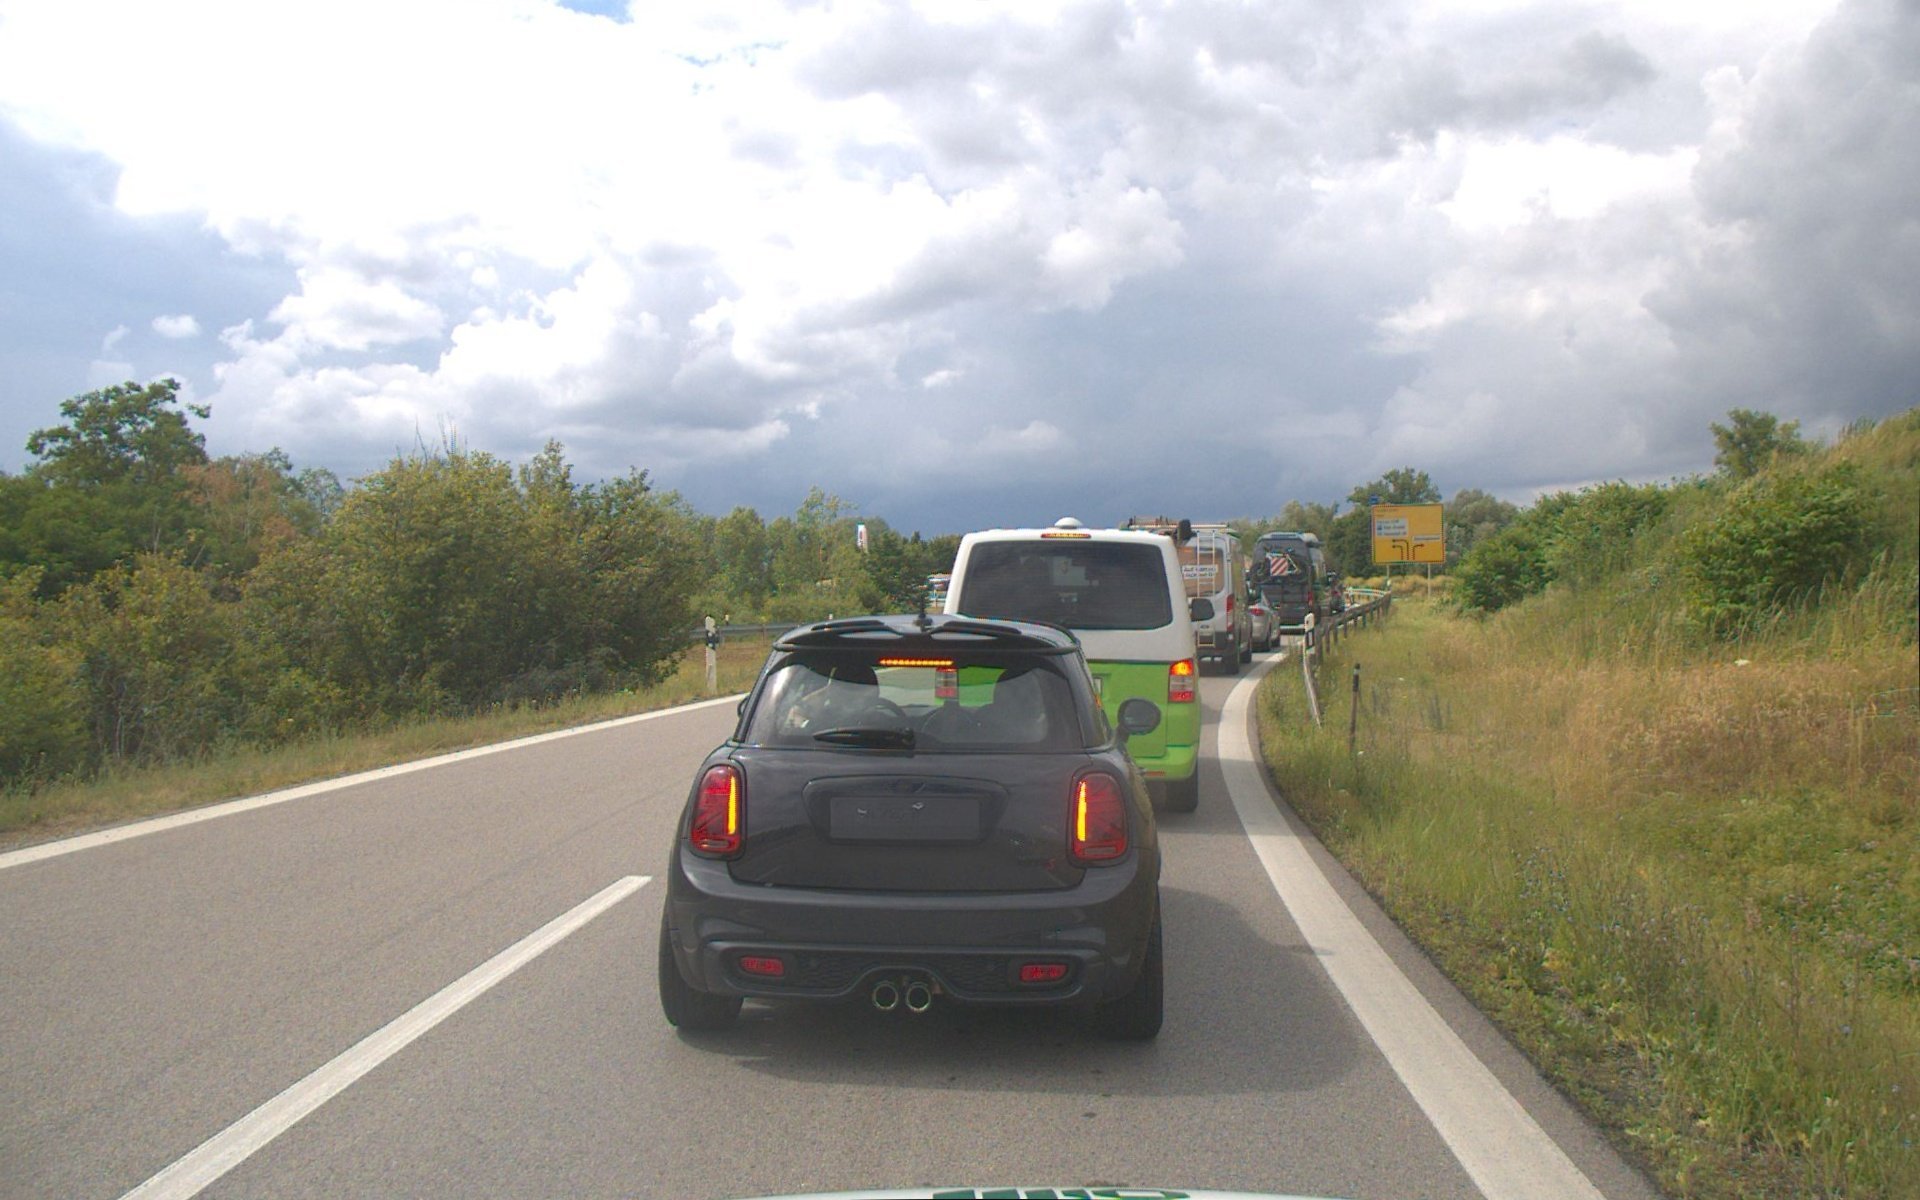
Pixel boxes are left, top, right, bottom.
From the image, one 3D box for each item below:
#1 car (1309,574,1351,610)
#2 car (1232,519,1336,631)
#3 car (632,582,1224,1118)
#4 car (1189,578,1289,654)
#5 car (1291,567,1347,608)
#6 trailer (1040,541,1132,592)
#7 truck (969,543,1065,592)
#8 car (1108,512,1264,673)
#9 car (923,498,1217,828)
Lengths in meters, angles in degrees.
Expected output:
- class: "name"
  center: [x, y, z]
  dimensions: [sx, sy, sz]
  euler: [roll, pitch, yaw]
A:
- class: "car"
  center: [20.391, -0.426, 91.171]
  dimensions: [2.050, 1.916, 4.499]
  euler: [1, 0, 10]
- class: "car"
  center: [9.856, -0.684, 49.874]
  dimensions: [2.262, 3.122, 6.665]
  euler: [1, 0, 18]
- class: "car"
  center: [0.003, 0.725, 6.806]
  dimensions: [1.762, 1.573, 3.740]
  euler: [0, 0, 3]
- class: "car"
  center: [6.637, 0.369, 39.023]
  dimensions: [1.951, 1.671, 3.931]
  euler: [1, 0, 15]
- class: "car"
  center: [14.961, -0.487, 68.810]
  dimensions: [1.853, 1.616, 4.497]
  euler: [1, 0, 18]
- class: "trailer"
  center: [10.201, -2.652, 135.250]
  dimensions: [3.006, 3.966, 8.677]
  euler: [1, 0, -32]
- class: "truck"
  center: [4.824, -2.761, 142.843]
  dimensions: [2.813, 4.045, 9.903]
  euler: [1, 0, -36]
- class: "car"
  center: [4.271, -0.118, 30.441]
  dimensions: [2.165, 2.668, 5.538]
  euler: [1, 0, 15]
- class: "car"
  center: [0.972, 0.390, 12.641]
  dimensions: [1.870, 2.081, 4.184]
  euler: [0, 0, 8]
